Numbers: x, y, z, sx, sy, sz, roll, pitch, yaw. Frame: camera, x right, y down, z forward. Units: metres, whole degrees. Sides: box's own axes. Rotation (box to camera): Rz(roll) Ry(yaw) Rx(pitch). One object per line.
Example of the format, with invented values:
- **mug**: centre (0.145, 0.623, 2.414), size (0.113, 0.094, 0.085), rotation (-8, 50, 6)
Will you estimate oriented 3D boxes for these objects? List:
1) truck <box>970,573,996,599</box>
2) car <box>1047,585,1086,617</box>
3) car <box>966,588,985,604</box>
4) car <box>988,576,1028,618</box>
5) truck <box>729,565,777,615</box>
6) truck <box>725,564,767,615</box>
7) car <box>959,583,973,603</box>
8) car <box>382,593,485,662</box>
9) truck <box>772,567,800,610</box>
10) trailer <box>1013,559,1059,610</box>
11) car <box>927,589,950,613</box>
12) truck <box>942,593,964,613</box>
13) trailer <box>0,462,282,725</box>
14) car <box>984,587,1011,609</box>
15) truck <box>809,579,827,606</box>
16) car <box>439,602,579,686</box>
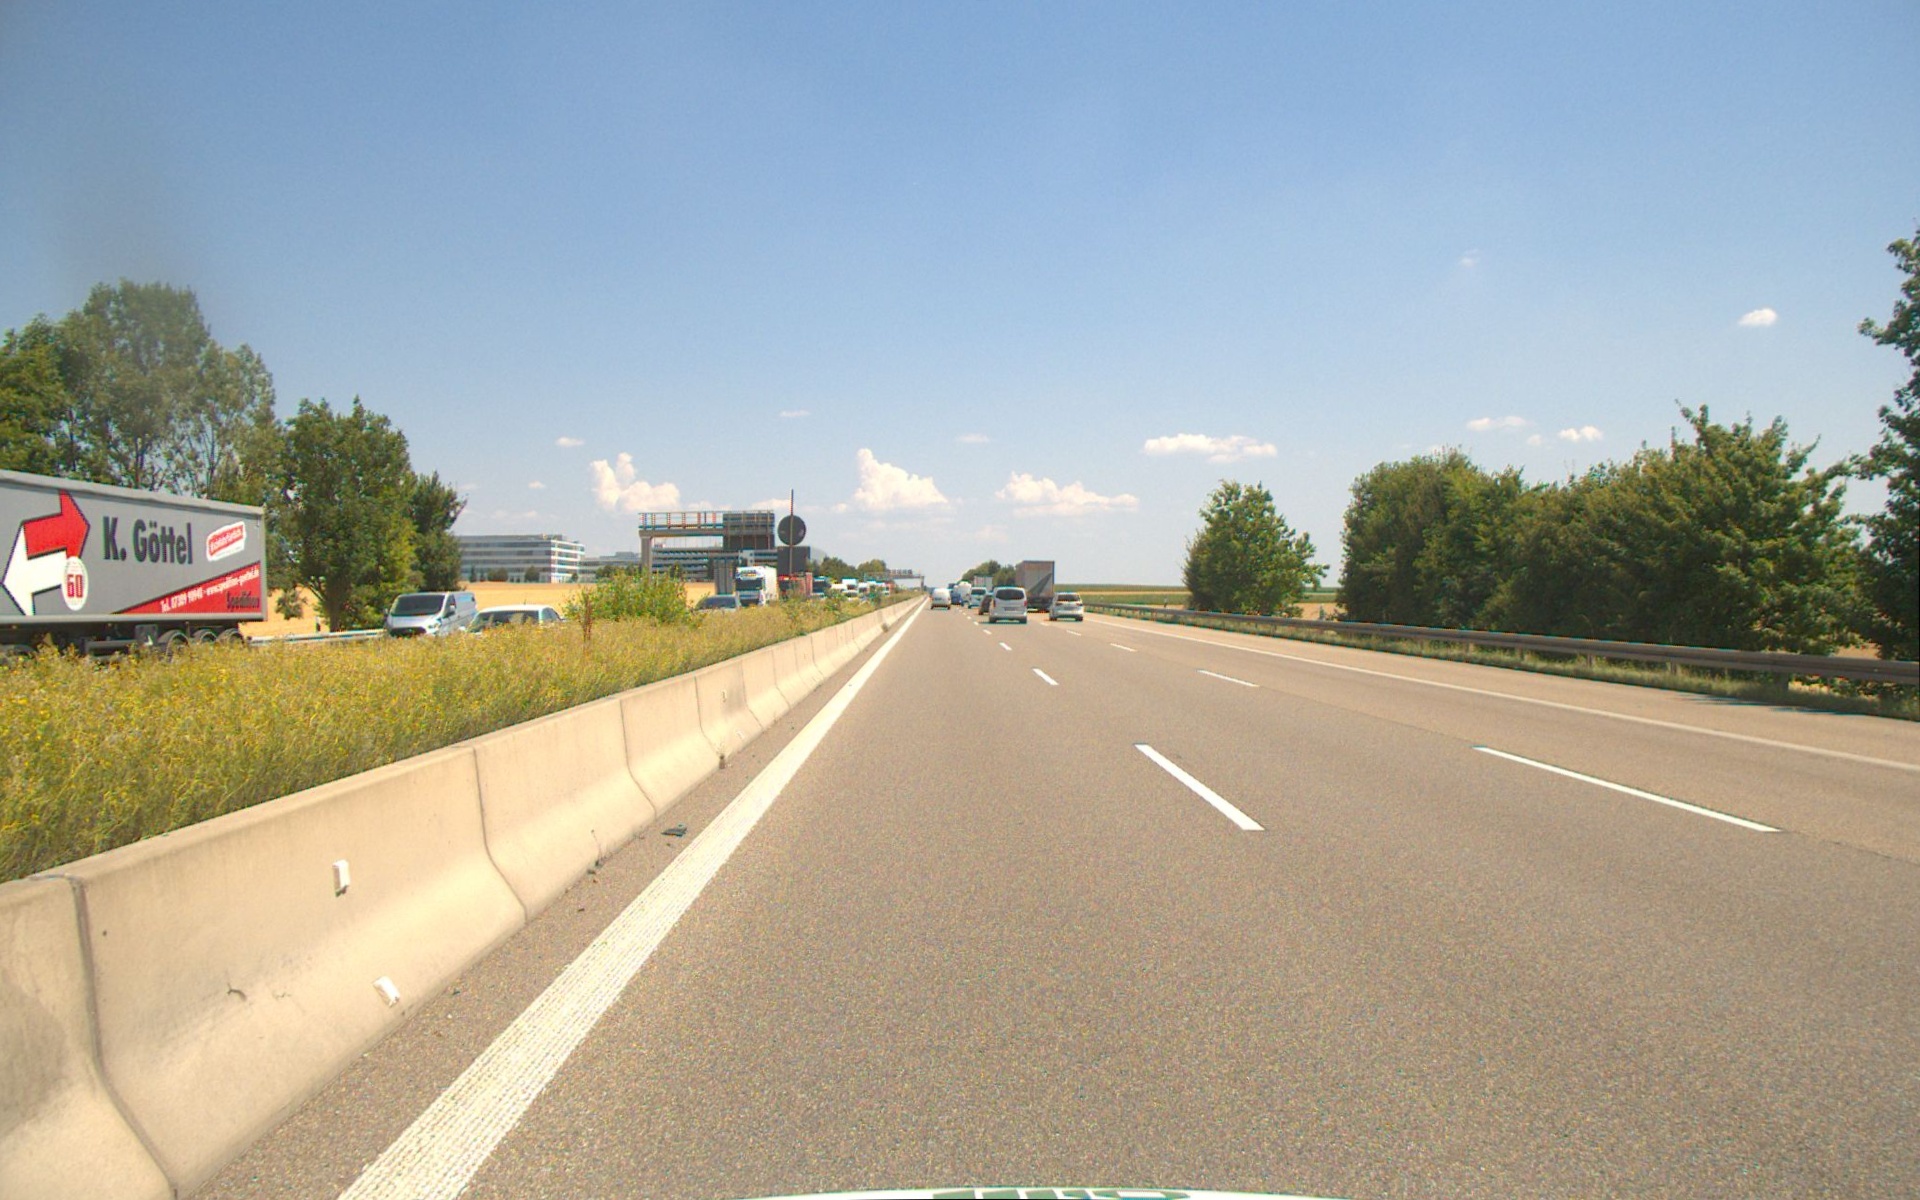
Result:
- **truck**: centre (3.638, -2.104, 259.584), size (3.738, 3.973, 9.578), rotation (-1, 0, -1)
- **car**: centre (6.207, 0.069, 96.927), size (1.953, 1.825, 3.999), rotation (0, -1, -1)
- **car**: centre (1.445, -0.371, 159.168), size (1.737, 1.473, 3.999), rotation (0, -1, -1)
- **car**: centre (2.493, -0.112, 87.277), size (1.953, 2.157, 3.999), rotation (0, -1, -1)
- **truck**: centre (-18.595, -0.905, 149.432), size (2.890, 4.230, 12.863), rotation (-2, 0, -1)
- **truck**: centre (-18.449, -0.874, 142.914), size (2.890, 4.230, 5.470), rotation (-2, 0, -1)
- **car**: centre (0.752, -0.864, 212.700), size (1.737, 2.434, 3.999), rotation (0, -1, -1)
- **car**: centre (-16.513, 0.818, 52.125), size (1.726, 1.986, 5.116), rotation (-2, 0, -2)
- **truck**: centre (-19.419, -1.278, 184.836), size (2.720, 4.678, 4.722), rotation (0, 0, -2)
- **trailer**: centre (6.189, -1.219, 136.405), size (3.211, 4.037, 9.110), rotation (0, -1, -1)
- **car**: centre (-1.926, 0.124, 147.495), size (1.953, 2.049, 3.999), rotation (0, -1, -1)
- **truck**: centre (-0.773, 0.298, 179.189), size (2.167, 2.049, 4.970), rotation (-1, 0, -2)
- **trailer**: centre (-15.810, -0.078, 29.196), size (2.798, 3.922, 12.182), rotation (-2, 0, -1)
- **car**: centre (2.611, -0.156, 116.437), size (1.737, 1.473, 3.999), rotation (0, -1, -1)
- **truck**: centre (-19.269, -0.992, 225.163), size (2.067, 3.663, 7.118), rotation (0, 0, -2)
- **car**: centre (-8.366, 0.776, 30.990), size (1.660, 1.441, 3.814), rotation (-1, 0, -2)
